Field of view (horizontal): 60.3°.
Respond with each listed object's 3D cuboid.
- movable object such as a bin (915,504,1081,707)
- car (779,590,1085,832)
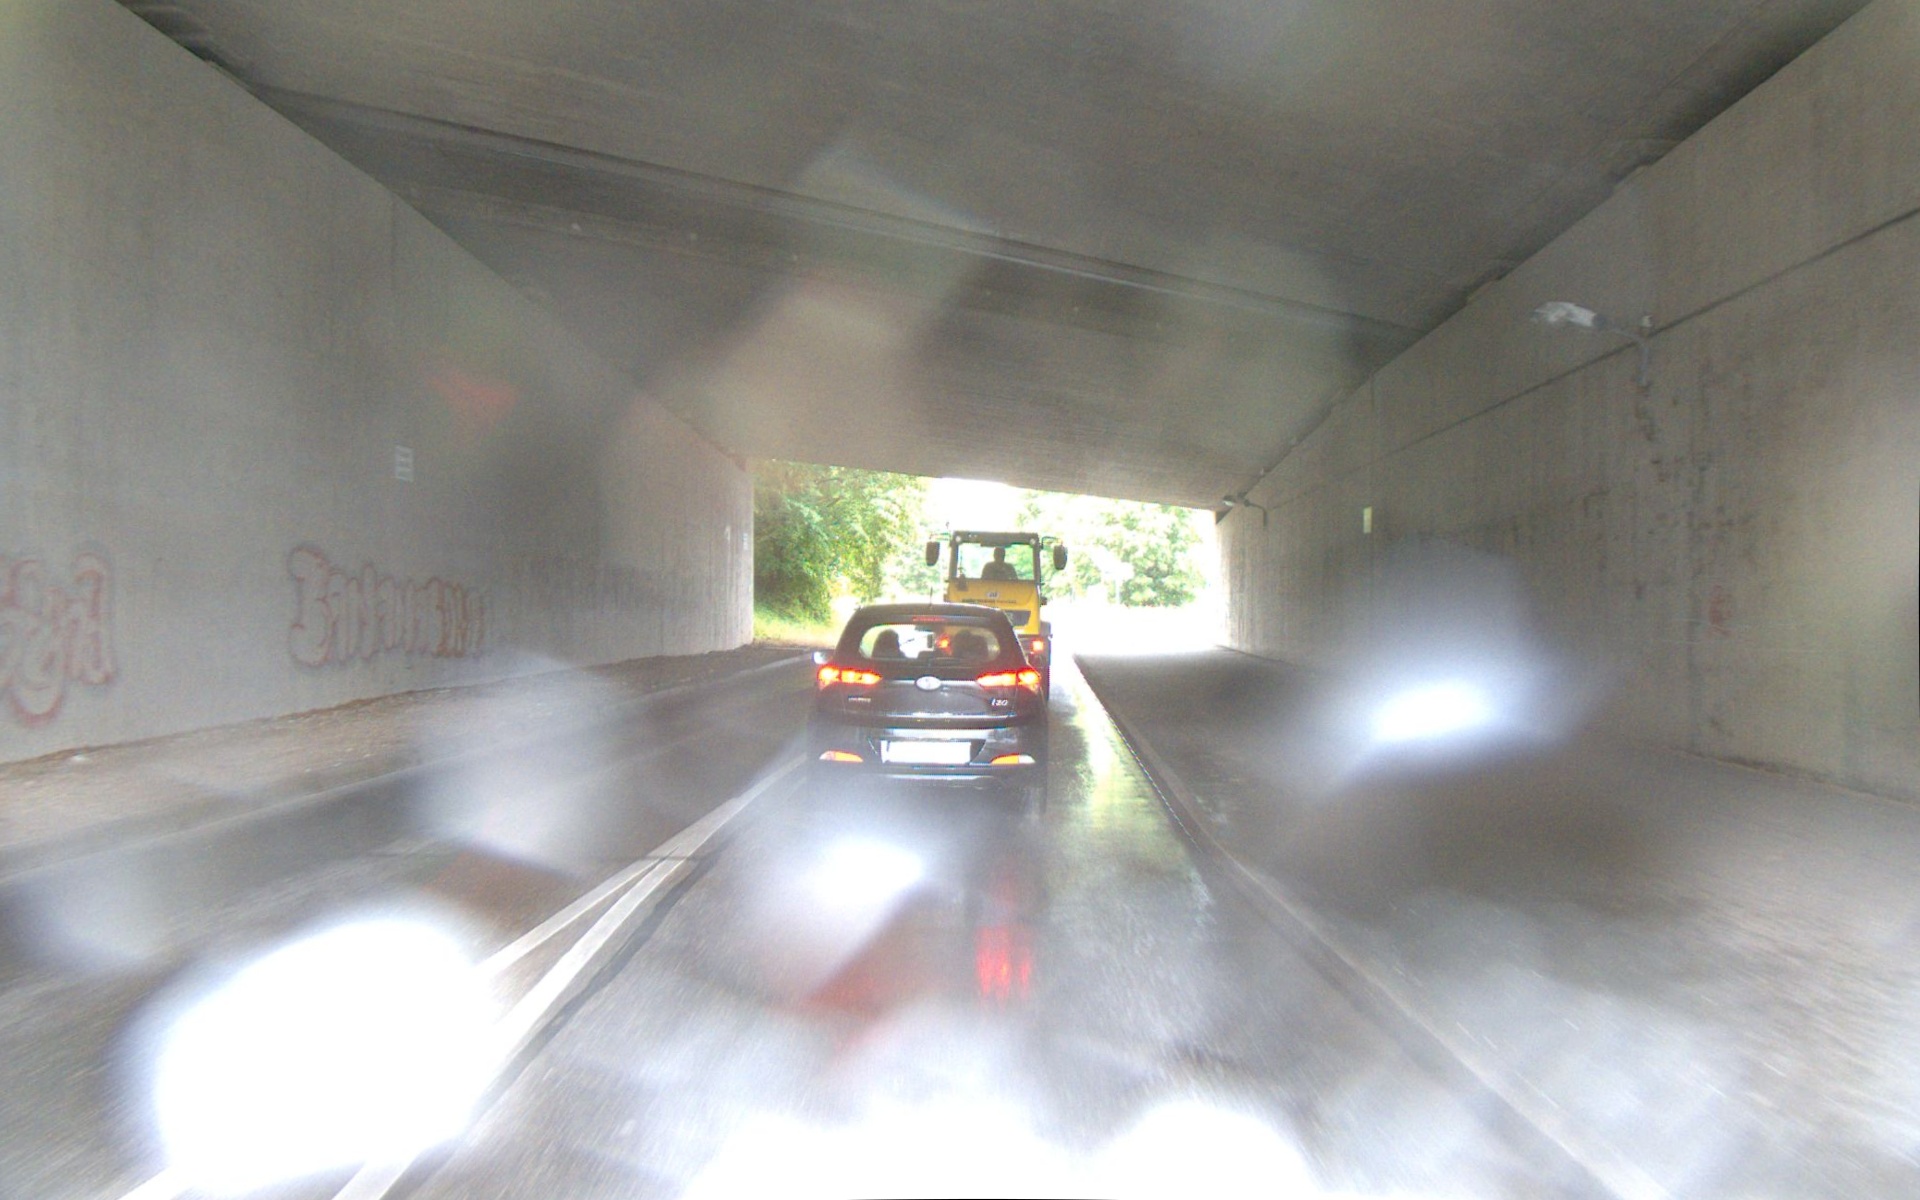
[{"bbox_3d":[0.609,0.080,26.152,2.199,2.716,6.627,2,0,1],"label":"movable object such as a bin"},{"bbox_3d":[-0.206,0.729,12.816,1.953,1.513,3.999,2,0,-1],"label":"car"}]
